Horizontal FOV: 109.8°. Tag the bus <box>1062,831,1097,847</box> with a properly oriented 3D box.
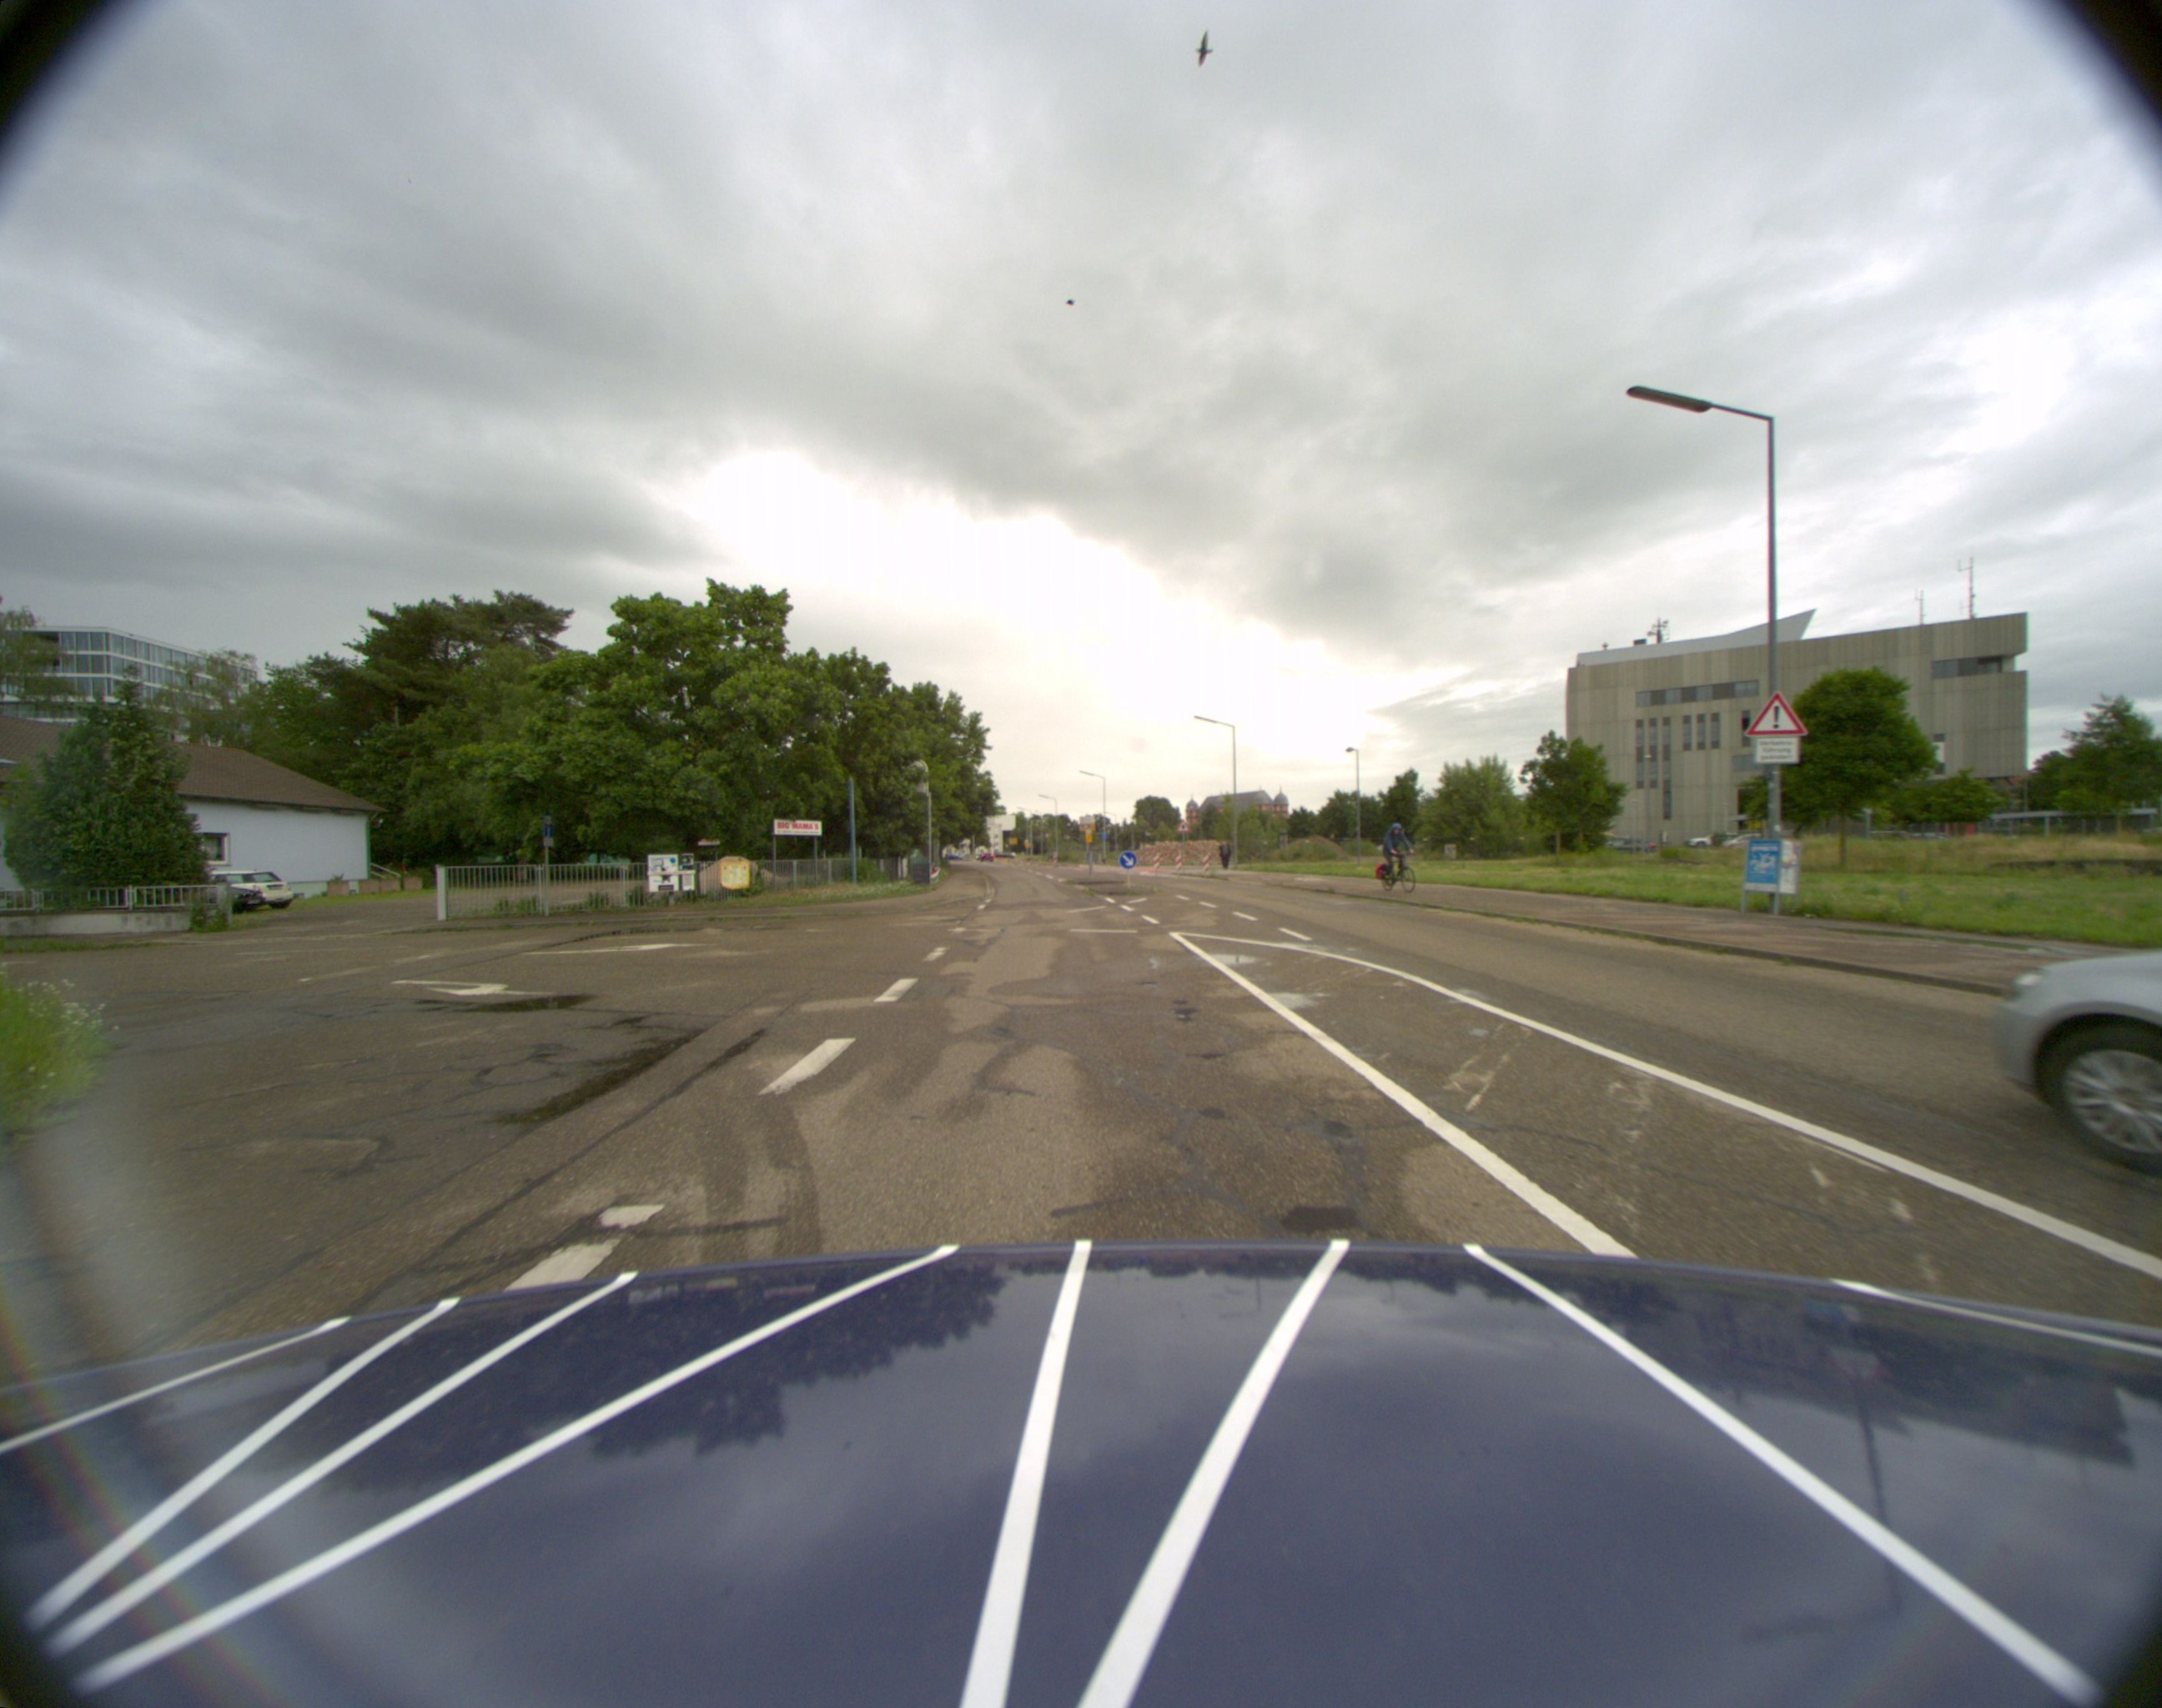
[{"bbox_3d":[-0.345,-3.721,186.065,8.375,3.626,2.740,-2,0,33],"label":"bus"}]

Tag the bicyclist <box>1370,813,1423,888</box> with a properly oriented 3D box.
[{"bbox_3d":[8.744,-0.101,21.091,0.864,2.002,1.177,-1,0,-6],"label":"bicyclist"}]

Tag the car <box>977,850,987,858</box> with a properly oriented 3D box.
[{"bbox_3d":[-20.438,-0.091,157.174,1.757,1.578,3.897,1,0,-11],"label":"car"}]

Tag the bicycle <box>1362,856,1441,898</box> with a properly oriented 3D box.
[{"bbox_3d":[8.780,0.609,20.975,0.886,1.046,2.467,-1,0,-7],"label":"bicycle"}]

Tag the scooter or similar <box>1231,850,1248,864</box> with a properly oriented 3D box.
[{"bbox_3d":[13.713,0.272,65.664,1.335,1.136,0.412,-2,2,20],"label":"scooter or similar"}]

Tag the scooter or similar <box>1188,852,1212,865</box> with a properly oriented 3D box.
[{"bbox_3d":[10.266,0.390,65.684,1.898,1.135,0.658,-1,1,36],"label":"scooter or similar"}]

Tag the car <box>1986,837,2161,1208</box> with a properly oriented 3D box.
[{"bbox_3d":[5.071,0.655,1.541,1.676,1.453,4.056,-3,0,2],"label":"car"}]

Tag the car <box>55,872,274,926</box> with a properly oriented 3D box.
[{"bbox_3d":[-28.692,1.374,23.961,4.002,1.402,1.866,-2,1,-15],"label":"car"}]

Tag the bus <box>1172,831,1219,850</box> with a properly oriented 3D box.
[{"bbox_3d":[25.363,-2.938,168.509,9.863,3.958,2.740,-2,0,35],"label":"bus"}]

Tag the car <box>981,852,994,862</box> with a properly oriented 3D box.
[{"bbox_3d":[-14.806,0.453,119.866,1.887,1.557,4.355,-1,0,-9],"label":"car"}]

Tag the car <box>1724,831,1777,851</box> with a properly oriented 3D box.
[{"bbox_3d":[63.729,-1.245,72.387,3.470,1.751,1.731,-1,1,31],"label":"car"}]

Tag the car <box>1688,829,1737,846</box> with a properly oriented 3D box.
[{"bbox_3d":[67.789,-1.757,81.620,3.878,1.751,1.731,-1,1,31],"label":"car"}]

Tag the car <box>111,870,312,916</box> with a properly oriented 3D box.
[{"bbox_3d":[-29.847,1.304,26.240,4.305,1.379,1.833,-1,1,-12],"label":"car"}]

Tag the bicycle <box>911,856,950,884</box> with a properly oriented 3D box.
[{"bbox_3d":[-6.273,0.664,31.794,0.797,1.104,1.954,-1,1,13],"label":"bicycle"}]

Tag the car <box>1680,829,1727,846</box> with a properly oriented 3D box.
[{"bbox_3d":[69.623,-1.800,85.004,3.878,1.751,1.731,-1,1,31],"label":"car"}]

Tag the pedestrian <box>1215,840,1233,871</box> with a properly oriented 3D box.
[{"bbox_3d":[8.335,0.078,44.340,0.846,1.772,1.077,-1,0,1],"label":"pedestrian"}]
